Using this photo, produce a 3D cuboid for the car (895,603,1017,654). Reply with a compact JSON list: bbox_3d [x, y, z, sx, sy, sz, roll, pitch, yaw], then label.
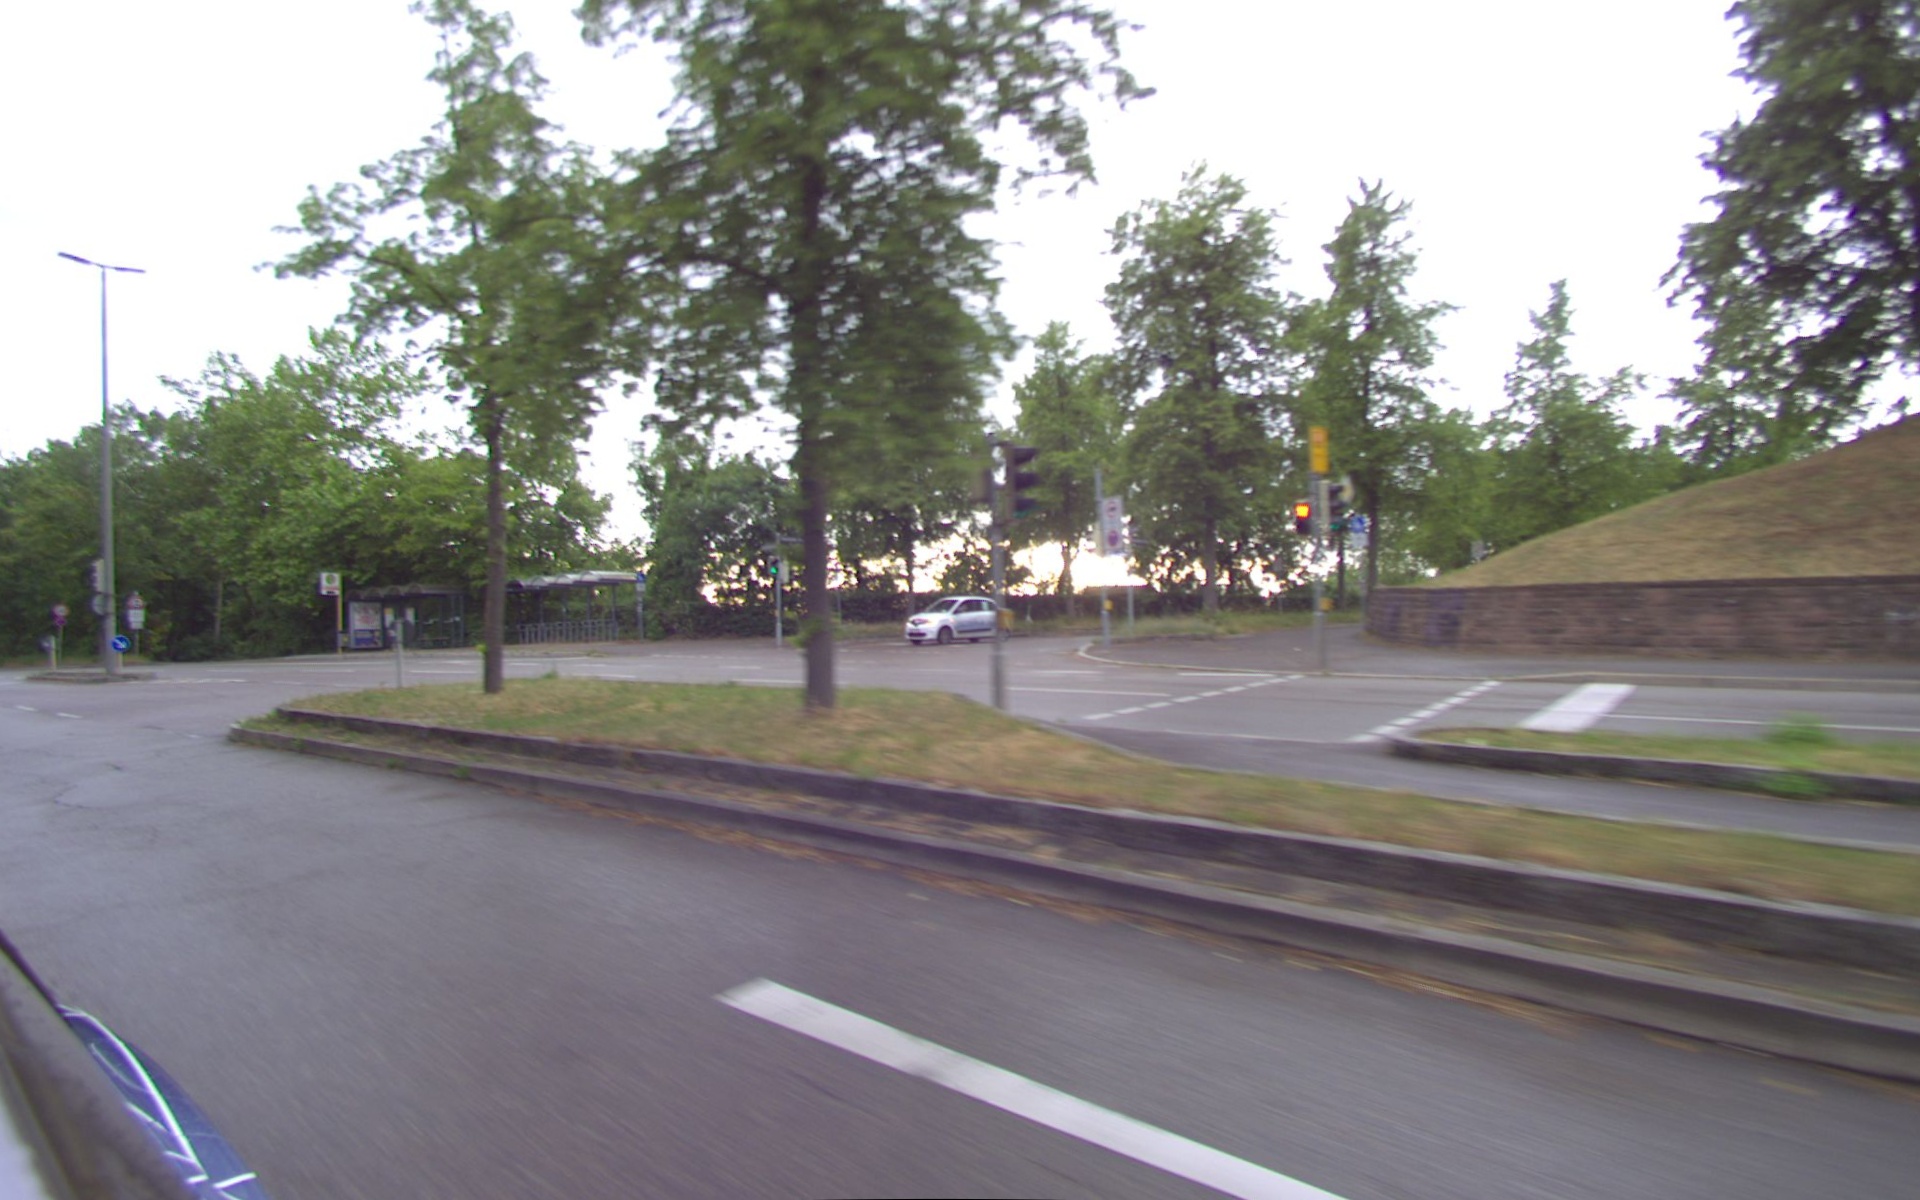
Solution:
[{"bbox_3d":[-0.113,0.900,33.365,3.637,1.489,1.766,-2,0,-36],"label":"car"}]
